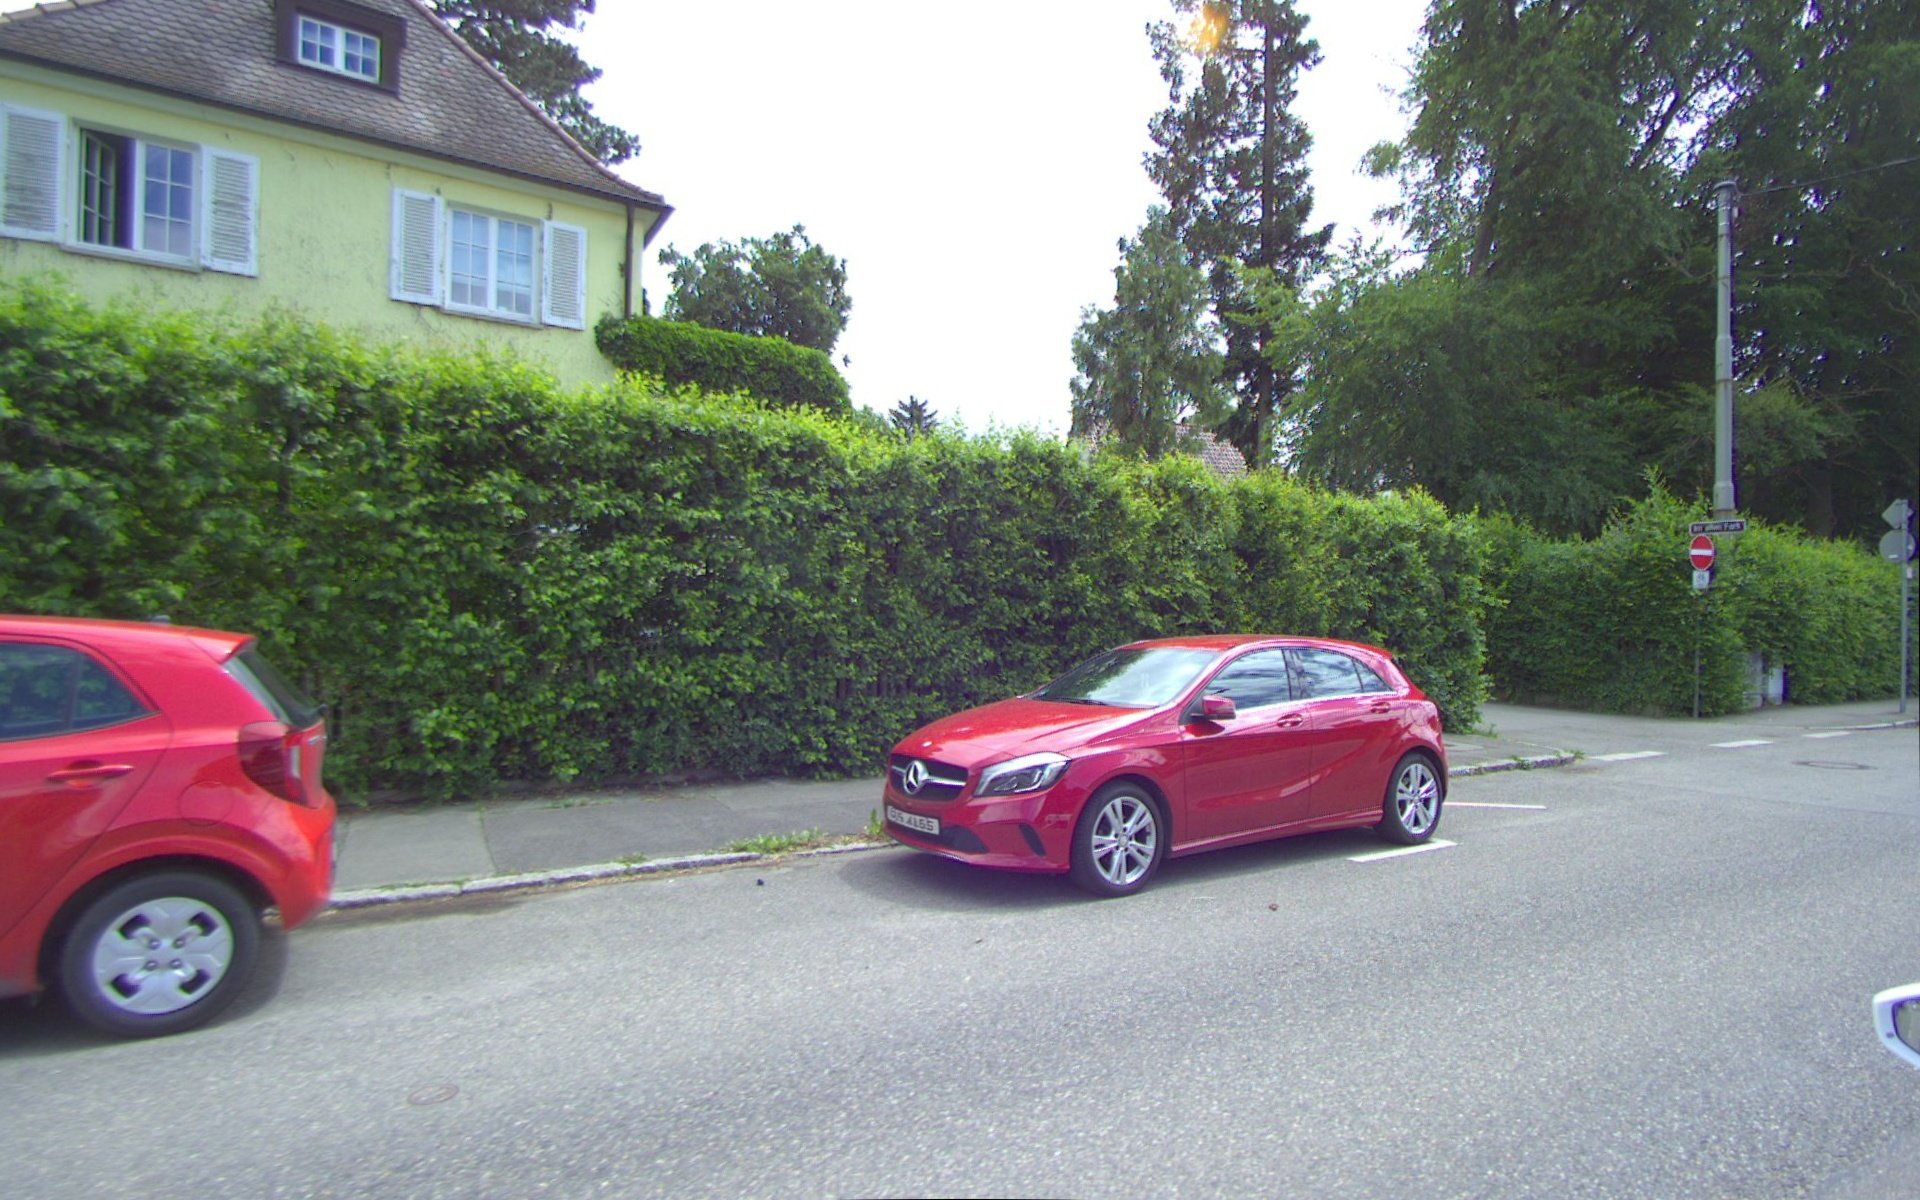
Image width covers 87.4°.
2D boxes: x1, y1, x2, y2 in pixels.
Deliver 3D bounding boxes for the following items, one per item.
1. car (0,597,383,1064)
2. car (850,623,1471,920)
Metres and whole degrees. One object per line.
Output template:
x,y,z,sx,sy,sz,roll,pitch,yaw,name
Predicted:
-4.114,0.761,3.616,3.476,1.524,1.580,1,-2,-32,car
1.487,0.921,6.911,4.139,1.490,1.752,1,-2,-32,car
